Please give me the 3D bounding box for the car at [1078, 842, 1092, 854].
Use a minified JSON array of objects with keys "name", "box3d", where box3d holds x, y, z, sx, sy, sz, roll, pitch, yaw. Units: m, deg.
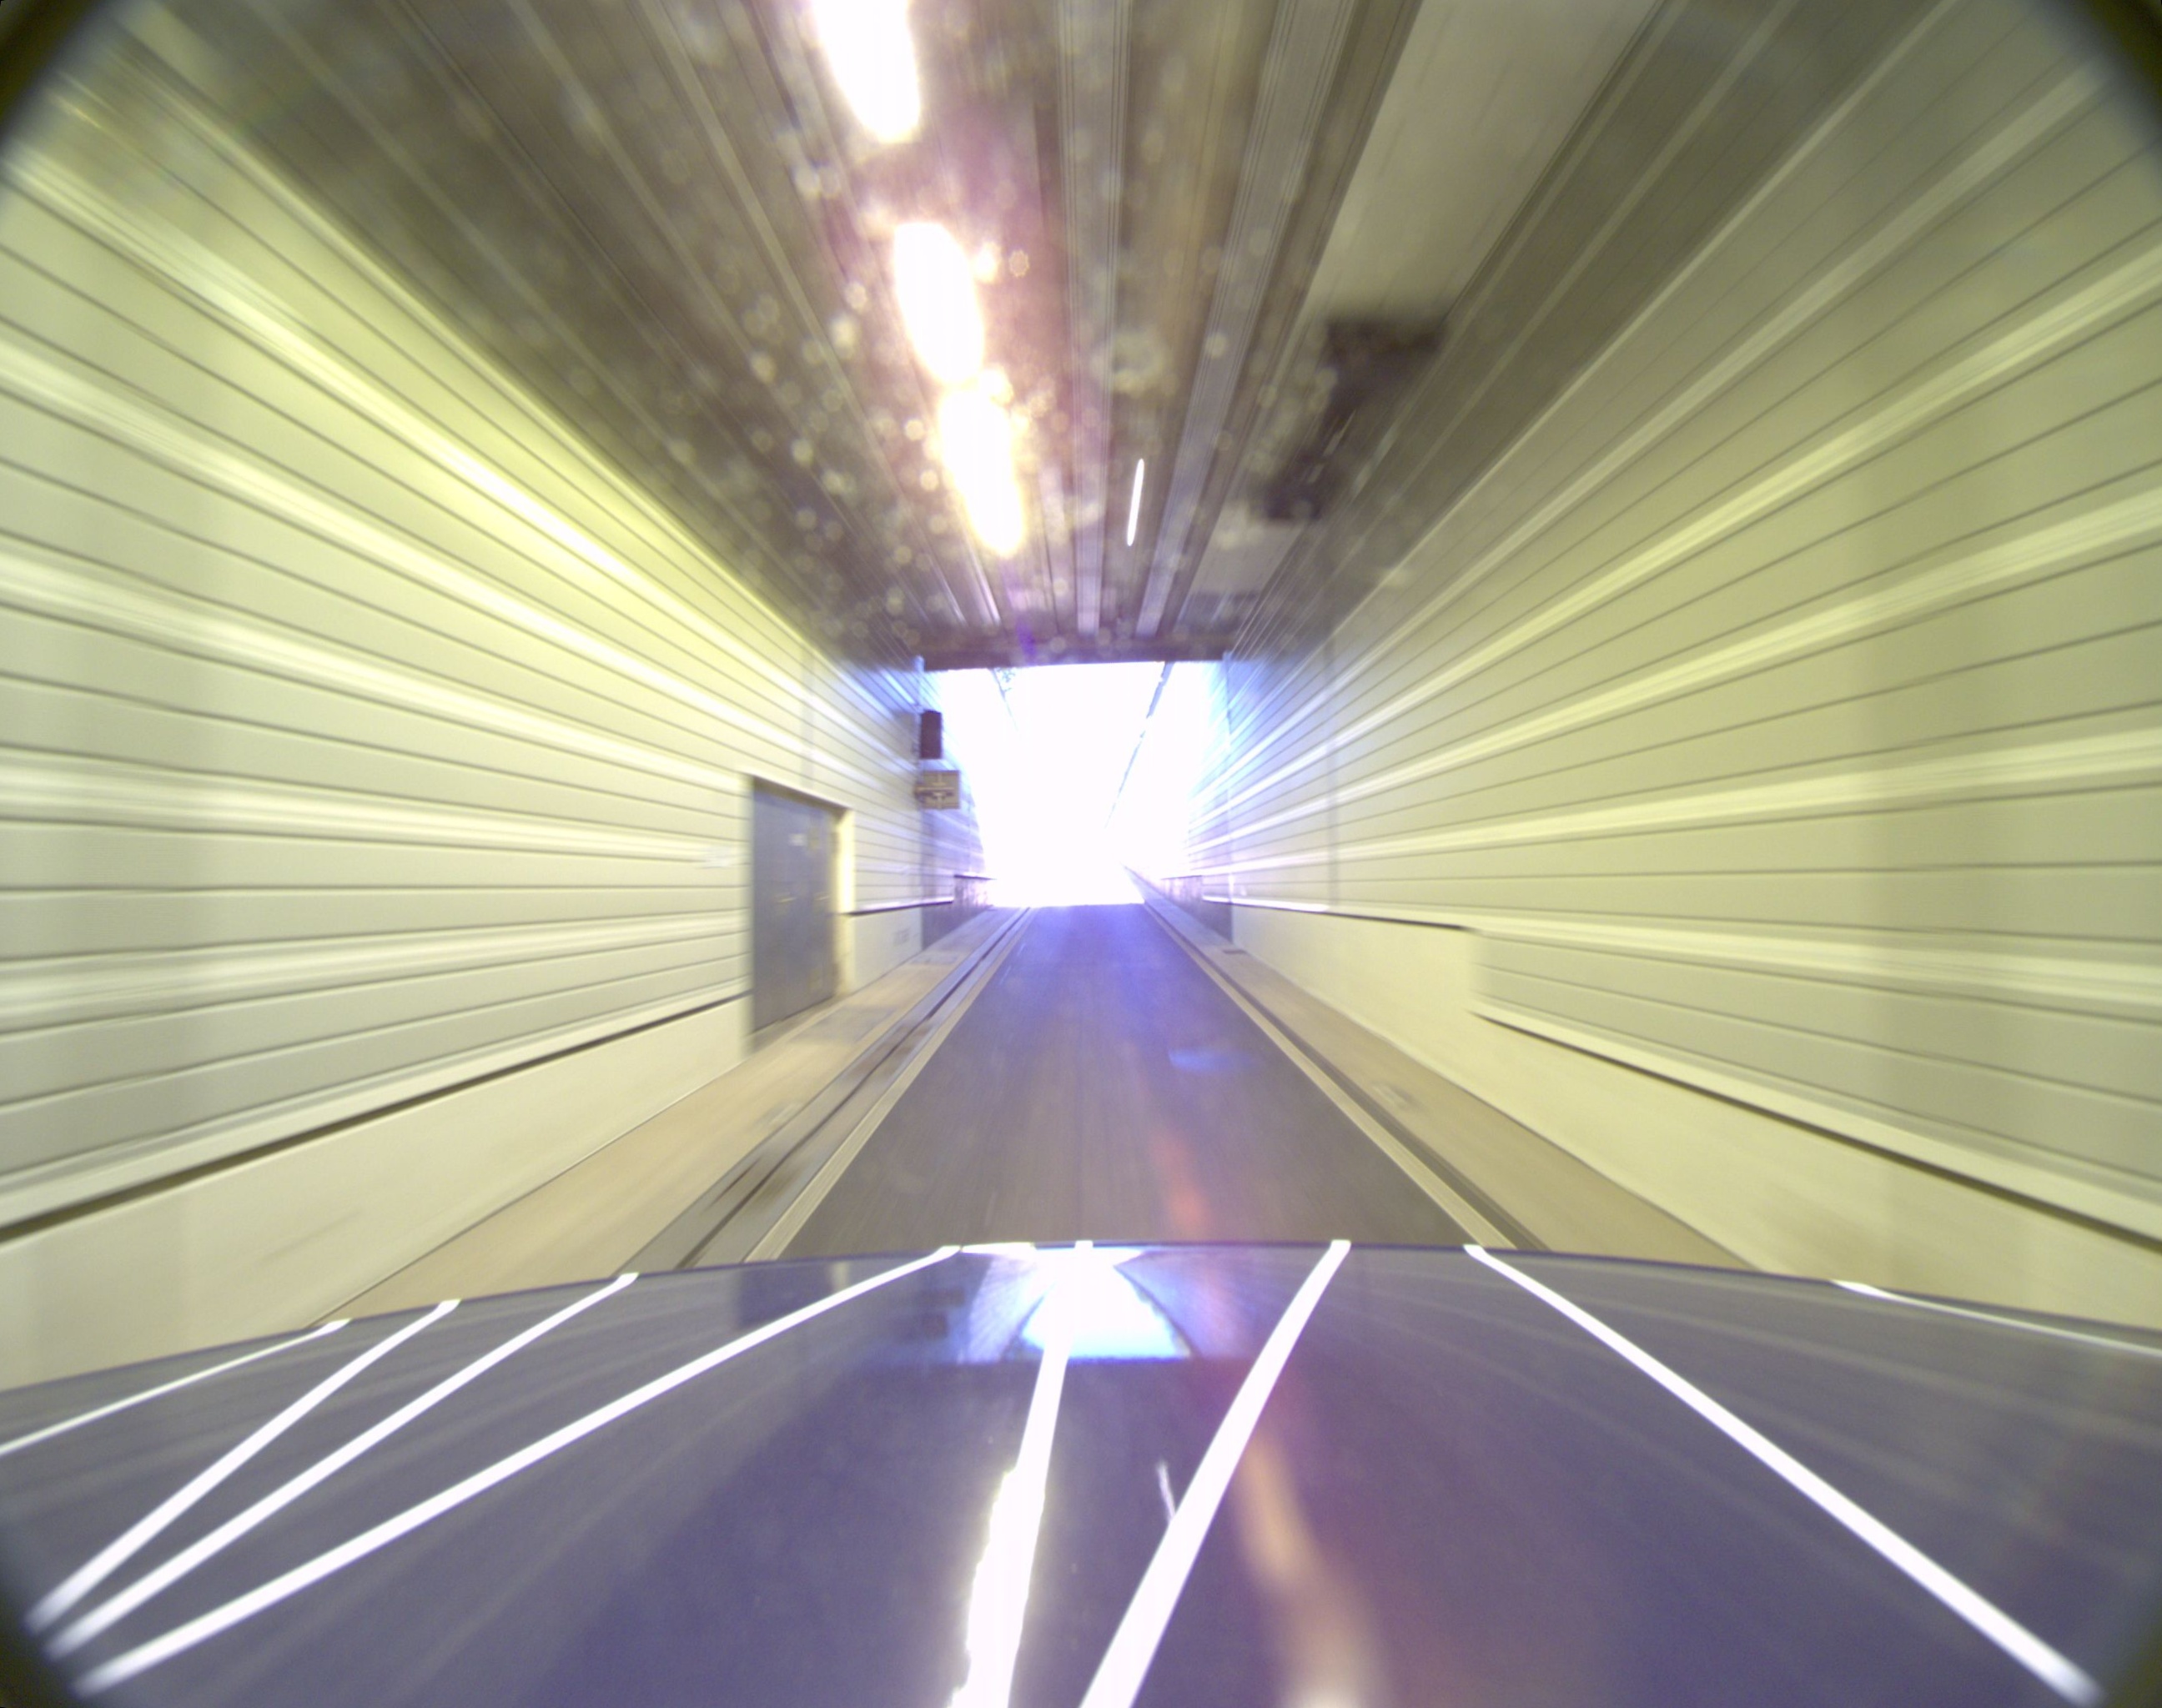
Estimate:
[{"name":"car","box3d":[0.562,-0.807,99.725,1.829,1.327,4.002,-1,-2,1]}]
